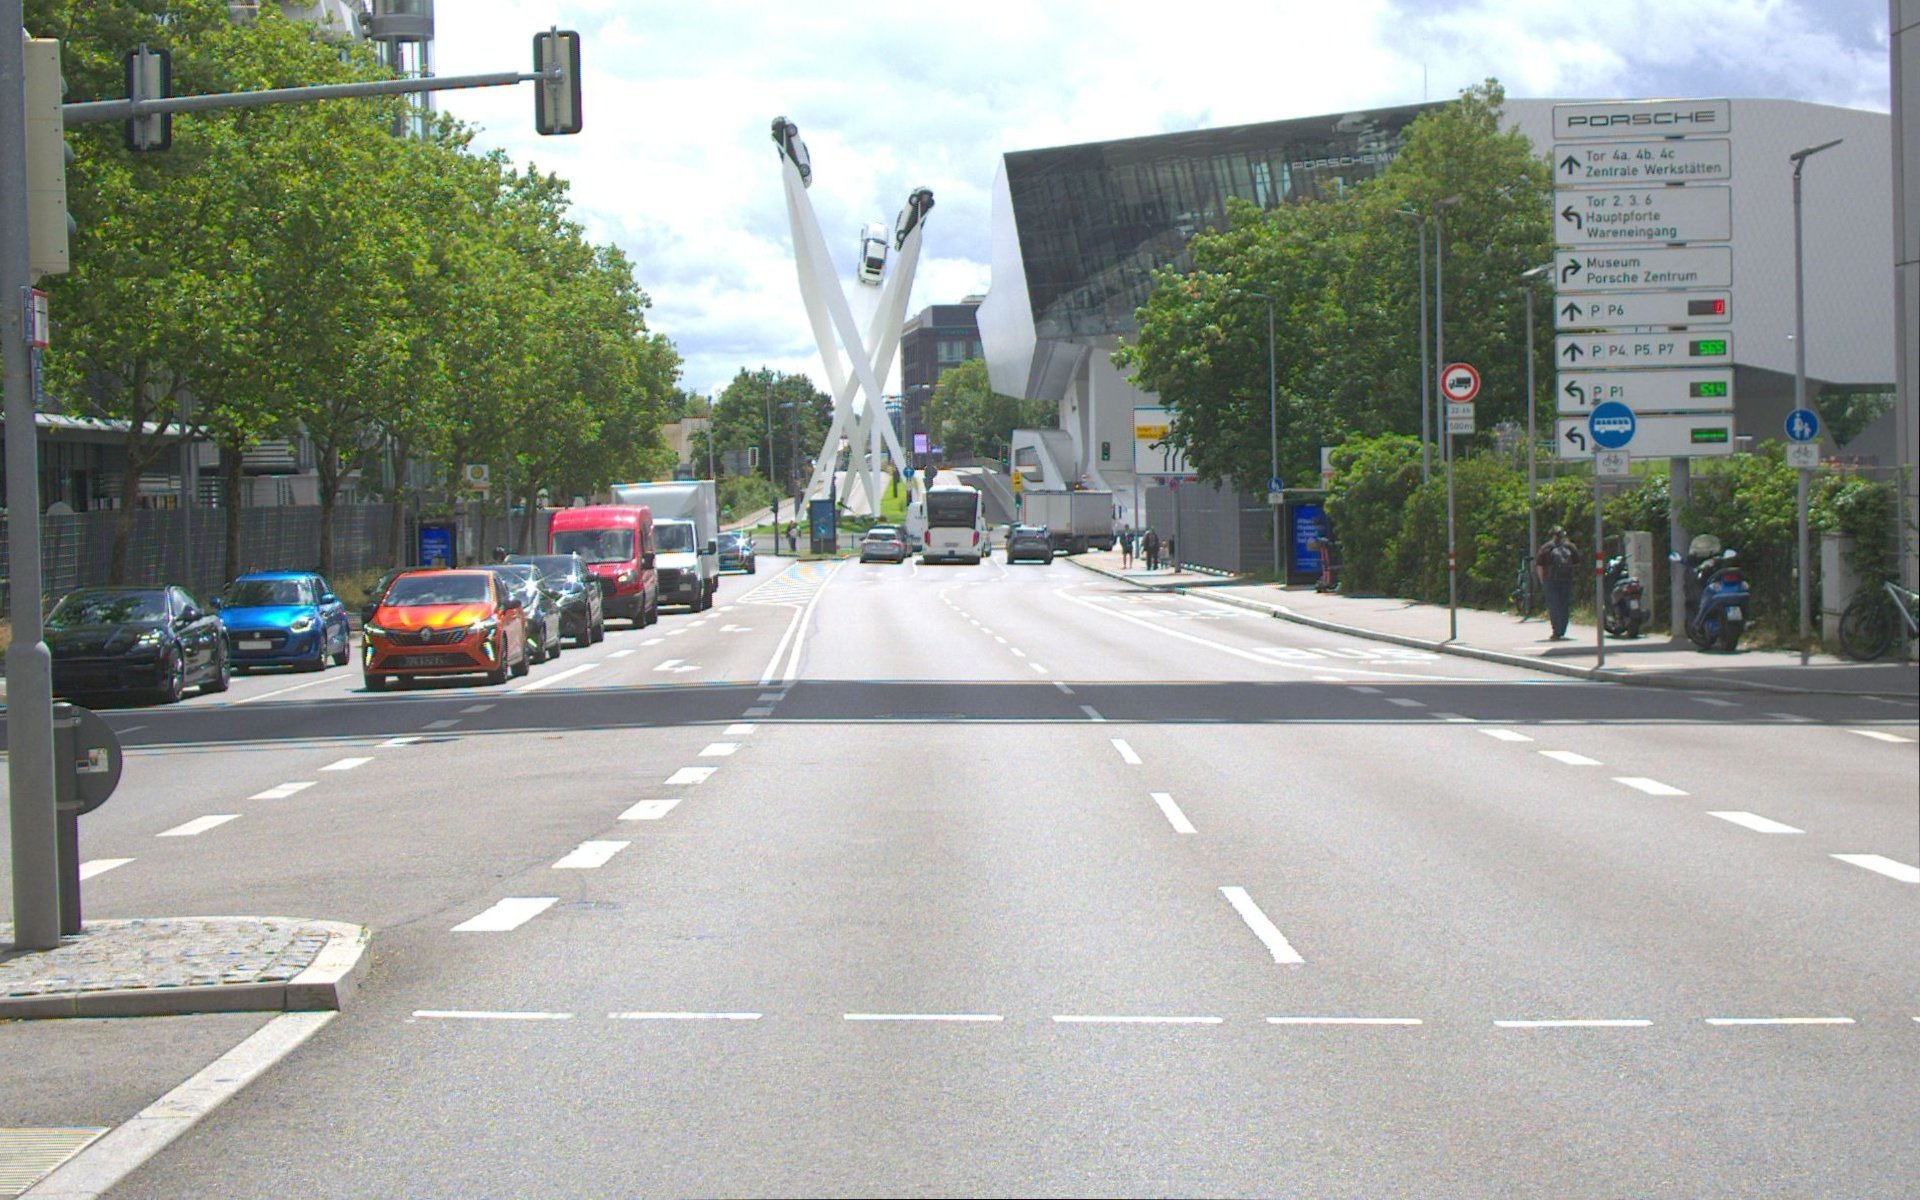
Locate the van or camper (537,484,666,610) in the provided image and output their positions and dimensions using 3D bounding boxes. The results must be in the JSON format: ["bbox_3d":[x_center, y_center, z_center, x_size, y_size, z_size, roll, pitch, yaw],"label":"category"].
[{"bbox_3d":[-7.284,-1.093,70.323,2.047,2.458,5.594,0,1,0],"label":"van or camper"}]

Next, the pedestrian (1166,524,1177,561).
[{"bbox_3d":[8.055,-2.195,130.778,0.386,1.416,0.423,1,0,0],"label":"pedestrian"}]

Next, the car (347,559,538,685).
[{"bbox_3d":[-6.465,0.247,43.280,1.769,1.415,3.701,-3,1,0],"label":"car"}]

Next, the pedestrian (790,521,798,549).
[{"bbox_3d":[-8.648,-3.391,179.219,0.386,1.416,0.423,1,0,1],"label":"pedestrian"}]

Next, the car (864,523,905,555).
[{"bbox_3d":[-3.243,-2.616,147.879,1.557,1.269,3.701,-3,1,1],"label":"car"}]

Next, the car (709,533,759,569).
[{"bbox_3d":[-8.577,-1.860,130.667,1.557,1.269,3.701,-3,1,0],"label":"car"}]

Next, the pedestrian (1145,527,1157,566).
[{"bbox_3d":[7.026,-1.980,126.457,0.386,1.416,0.423,1,0,0],"label":"pedestrian"}]

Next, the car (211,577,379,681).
[{"bbox_3d":[-9.897,0.403,51.405,1.727,1.378,3.701,-3,1,0],"label":"car"}]

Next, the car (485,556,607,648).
[{"bbox_3d":[-7.052,0.010,58.793,1.557,1.443,3.773,-3,1,0],"label":"car"}]

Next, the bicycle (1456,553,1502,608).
[{"bbox_3d":[9.772,-0.367,64.797,0.418,1.019,1.913,1,0,-5],"label":"bicycle"}]

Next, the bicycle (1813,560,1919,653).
[{"bbox_3d":[11.191,0.078,40.399,2.222,1.083,0.476,1,0,35],"label":"bicycle"}]

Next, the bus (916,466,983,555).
[{"bbox_3d":[-0.419,-3.833,149.513,2.787,3.673,6.943,1,0,0],"label":"bus"}]

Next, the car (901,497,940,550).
[{"bbox_3d":[-2.010,-3.868,174.514,1.843,2.615,4.000,1,0,1],"label":"car"}]

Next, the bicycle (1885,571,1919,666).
[{"bbox_3d":[11.681,0.228,39.068,2.222,1.083,0.476,1,0,35],"label":"bicycle"}]

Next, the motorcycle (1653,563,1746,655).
[{"bbox_3d":[9.569,0.108,44.555,0.418,1.162,1.957,1,0,-11],"label":"motorcycle"}]

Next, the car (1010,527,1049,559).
[{"bbox_3d":[2.941,-2.414,145.925,1.557,1.269,3.701,-3,1,1],"label":"car"}]

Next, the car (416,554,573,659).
[{"bbox_3d":[-6.906,0.067,51.292,1.769,1.415,3.701,-3,1,0],"label":"car"}]

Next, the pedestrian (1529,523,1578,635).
[{"bbox_3d":[8.723,-0.309,50.525,0.533,1.635,0.658,1,0,-6],"label":"pedestrian"}]

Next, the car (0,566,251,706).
[{"bbox_3d":[-10.133,0.392,41.884,1.917,1.483,4.772,-3,1,0],"label":"car"}]

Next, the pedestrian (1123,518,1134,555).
[{"bbox_3d":[6.377,-2.408,130.405,0.386,1.416,0.423,1,0,0],"label":"pedestrian"}]

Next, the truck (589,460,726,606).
[{"bbox_3d":[-7.192,-1.550,82.528,2.591,3.312,7.079,1,0,0],"label":"truck"}]

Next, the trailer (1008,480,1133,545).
[{"bbox_3d":[5.612,-4.341,172.300,3.322,2.985,10.366,1,0,19],"label":"trailer"}]
